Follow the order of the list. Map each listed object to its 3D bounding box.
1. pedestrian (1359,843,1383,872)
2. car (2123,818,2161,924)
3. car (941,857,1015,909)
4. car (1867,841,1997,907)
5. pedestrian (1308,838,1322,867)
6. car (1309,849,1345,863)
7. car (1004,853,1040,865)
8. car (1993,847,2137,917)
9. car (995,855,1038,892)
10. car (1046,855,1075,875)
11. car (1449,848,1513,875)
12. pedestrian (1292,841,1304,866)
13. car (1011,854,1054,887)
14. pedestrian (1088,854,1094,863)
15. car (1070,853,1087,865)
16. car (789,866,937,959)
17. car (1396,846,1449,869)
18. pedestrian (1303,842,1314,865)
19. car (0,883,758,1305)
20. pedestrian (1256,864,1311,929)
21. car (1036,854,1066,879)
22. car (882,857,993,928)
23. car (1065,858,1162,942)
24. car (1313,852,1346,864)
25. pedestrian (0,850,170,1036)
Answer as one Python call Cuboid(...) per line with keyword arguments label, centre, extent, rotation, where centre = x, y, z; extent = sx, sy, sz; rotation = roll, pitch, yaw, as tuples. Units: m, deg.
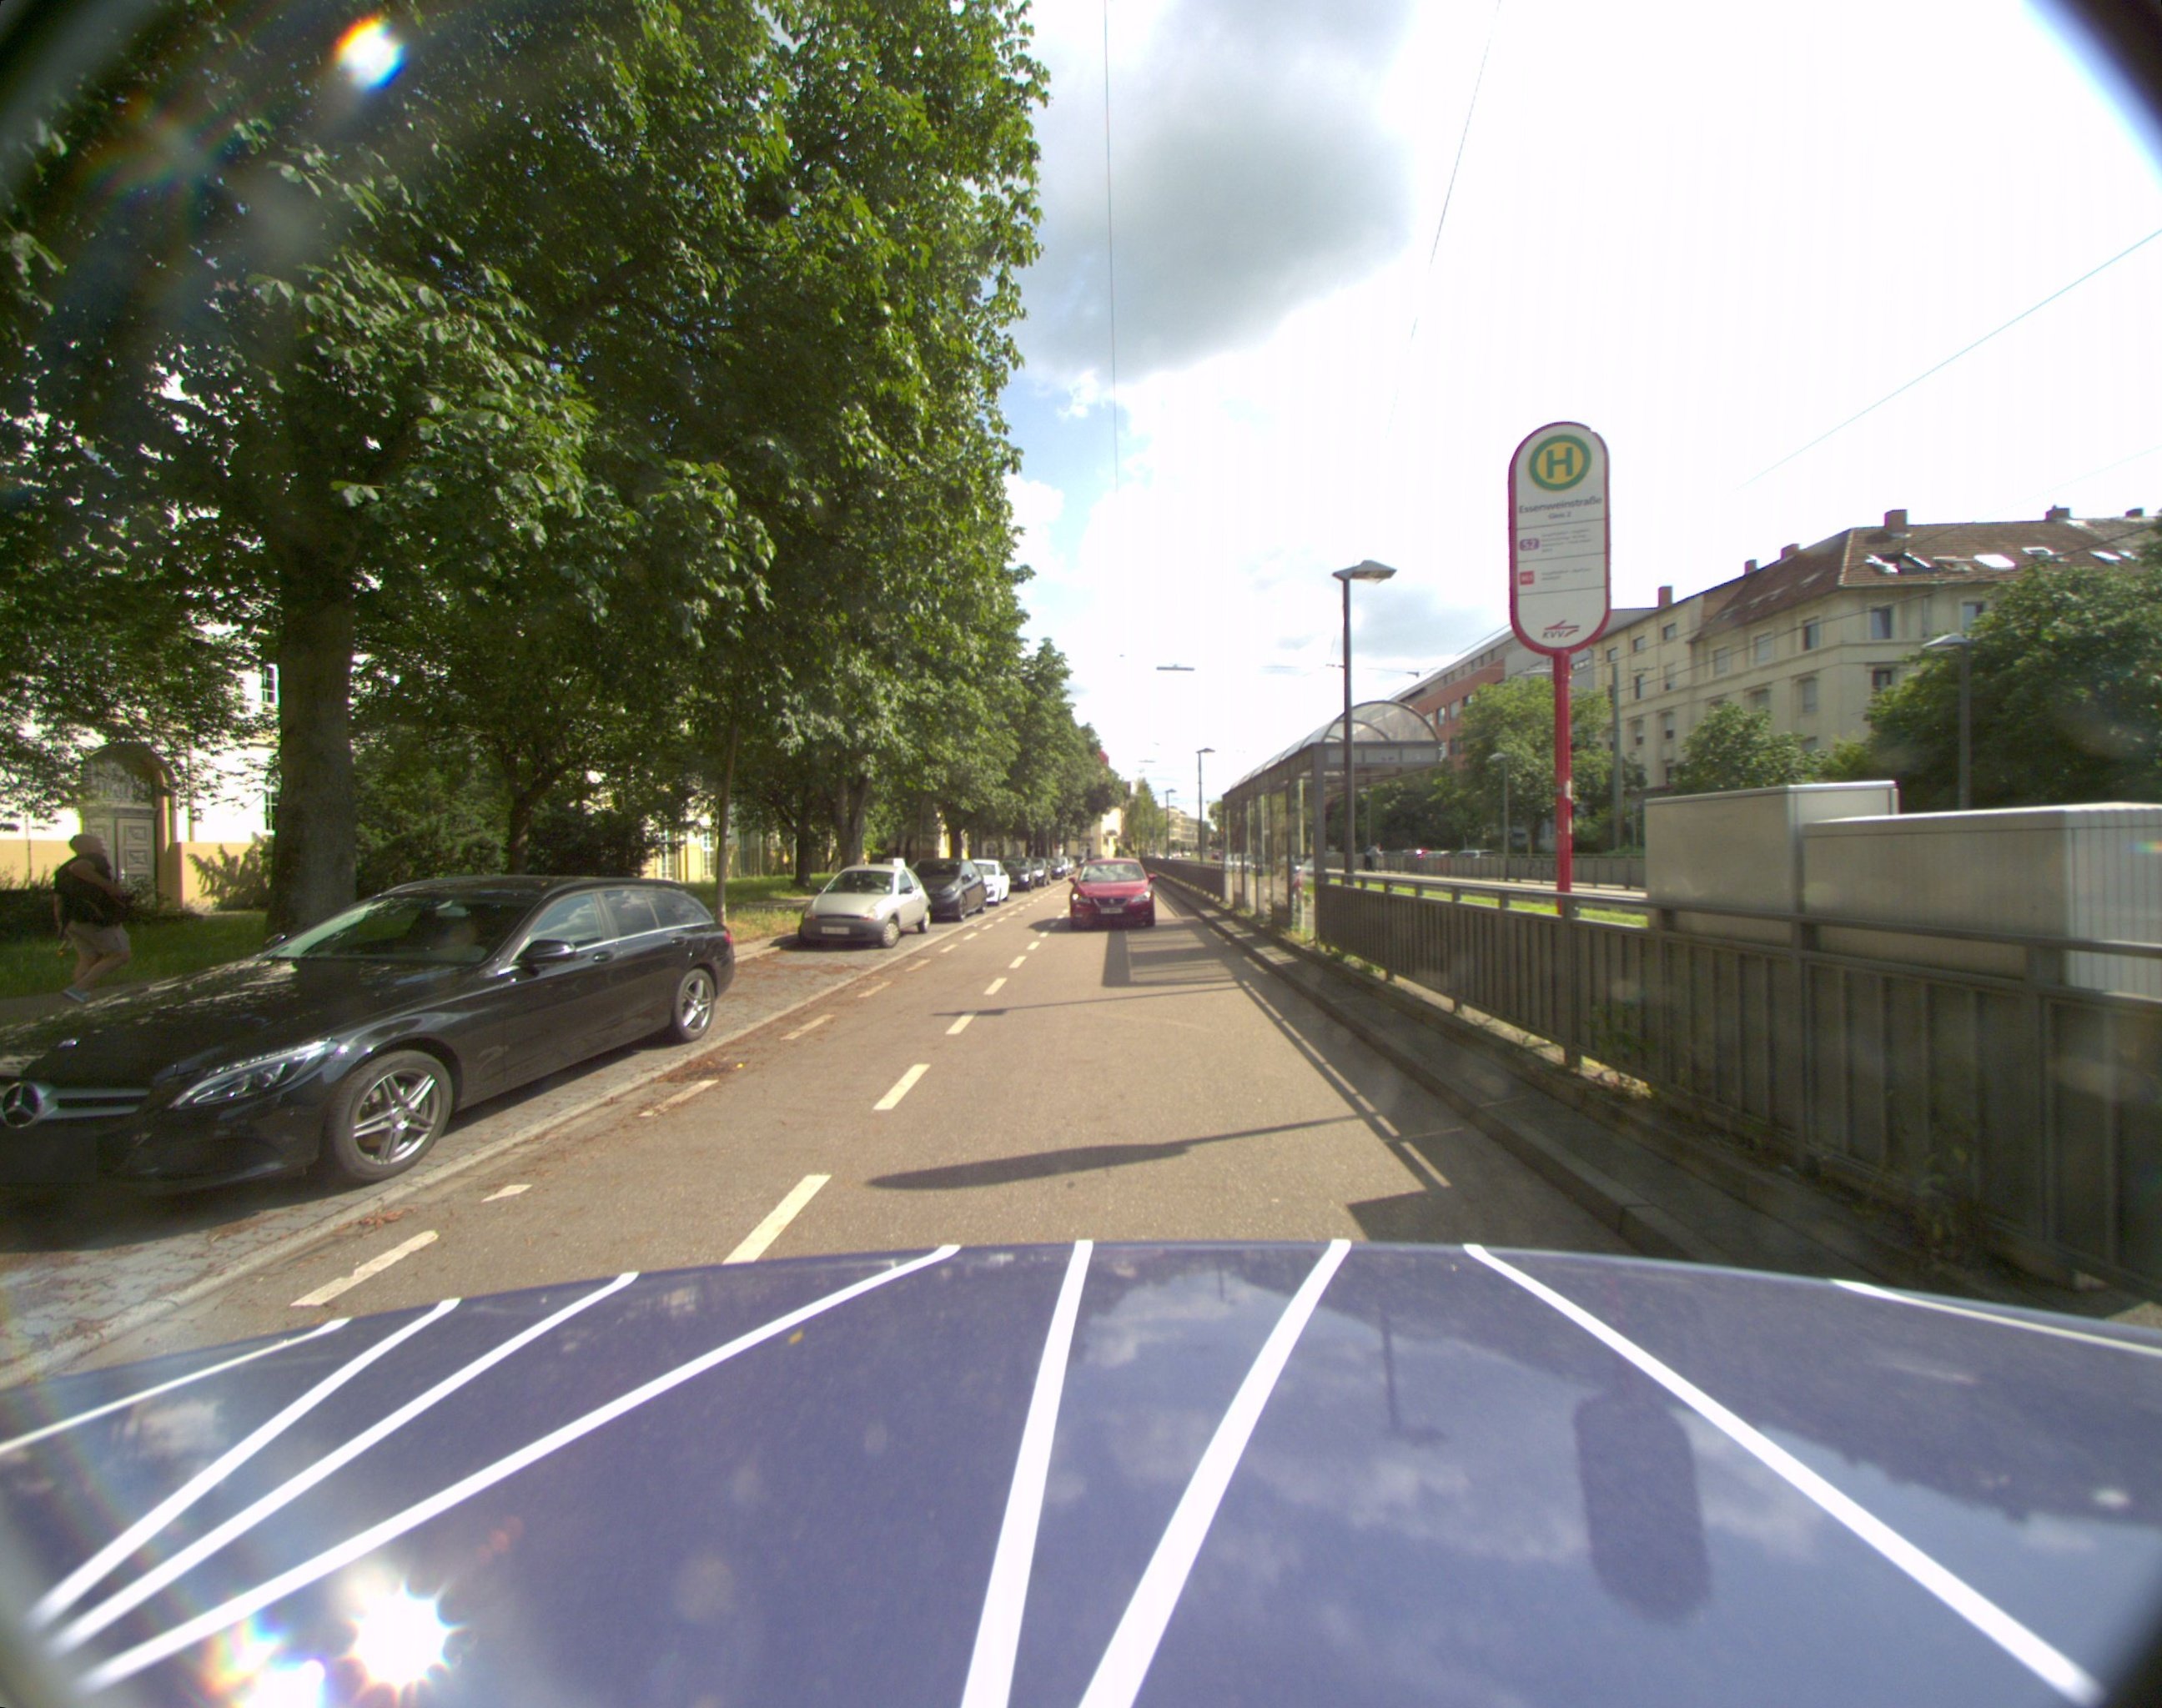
Cuboid(label="pedestrian", centre=(15.733, 0.192, 41.275), extent=(0.991, 1.569, 0.798), rotation=(-1, 1, 0))
Cuboid(label="car", centre=(22.926, 0.291, 15.131), extent=(3.957, 2.058, 2.045), rotation=(-1, 0, -28))
Cuboid(label="car", centre=(-3.354, 0.884, 25.399), extent=(1.840, 1.515, 4.253), rotation=(1, 0, 0))
Cuboid(label="car", centre=(23.367, 0.500, 20.832), extent=(4.007, 1.630, 1.823), rotation=(-1, -1, -34))
Cuboid(label="pedestrian", centre=(15.482, -0.089, 50.223), extent=(0.752, 1.881, 0.639), rotation=(-1, 3, 5))
Cuboid(label="car", centre=(27.138, 0.206, 83.873), extent=(4.007, 1.487, 1.647), rotation=(-1, 0, -34))
Cuboid(label="car", centre=(-8.599, 0.695, 111.400), extent=(4.827, 1.646, 1.858), rotation=(-1, 2, 13))
Cuboid(label="car", centre=(23.517, 0.601, 18.128), extent=(4.006, 1.477, 1.606), rotation=(-1, 0, -30))
Cuboid(label="car", centre=(-2.838, 0.845, 34.125), extent=(1.559, 1.453, 3.558), rotation=(2, 1, 0))
Cuboid(label="car", centre=(-1.488, 0.814, 56.828), extent=(1.639, 1.423, 4.016), rotation=(2, 0, 5))
Cuboid(label="car", centre=(24.790, 0.444, 47.069), extent=(4.161, 1.556, 1.921), rotation=(-1, 1, -38))
Cuboid(label="pedestrian", centre=(15.685, -0.045, 54.947), extent=(0.607, 1.744, 0.626), rotation=(0, 2, 43))
Cuboid(label="car", centre=(-2.433, 0.811, 39.308), extent=(1.694, 1.552, 4.308), rotation=(2, 0, 3))
Cuboid(label="pedestrian", centre=(1.511, 0.645, 112.898), extent=(0.804, 1.238, 0.892), rotation=(-1, 2, 5))
Cuboid(label="car", centre=(-0.284, 0.549, 89.267), extent=(1.689, 1.379, 3.924), rotation=(0, 1, 3))
Cuboid(label="car", centre=(-3.968, 0.993, 14.404), extent=(1.594, 1.437, 3.598), rotation=(1, 1, 3))
Cuboid(label="car", centre=(25.513, 0.235, 56.717), extent=(4.144, 1.630, 1.829), rotation=(-1, 1, -37))
Cuboid(label="pedestrian", centre=(16.391, -0.039, 54.794), extent=(0.608, 1.665, 0.625), rotation=(-1, 2, 3))
Cuboid(label="car", centre=(-4.349, 1.039, 5.408), extent=(1.922, 1.433, 4.797), rotation=(1, 0, 2))
Cuboid(label="pedestrian", centre=(3.458, 0.708, 12.955), extent=(0.662, 1.066, 0.725), rotation=(-1, 0, 37))
Cuboid(label="car", centre=(-1.953, 0.793, 50.899), extent=(1.836, 1.458, 4.829), rotation=(1, 1, -1))
Cuboid(label="car", centre=(-3.574, 0.895, 19.803), extent=(1.729, 1.574, 4.678), rotation=(0, 0, 3))
Cuboid(label="car", centre=(0.704, 0.889, 16.448), extent=(1.790, 1.499, 4.000), rotation=(-2, 0, 3))
Cuboid(label="car", centre=(26.276, 0.422, 80.312), extent=(3.258, 1.296, 1.600), rotation=(-1, 0, -32))
Cuboid(label="pedestrian", centre=(-9.613, 0.812, 7.302), extent=(0.746, 1.686, 0.767), rotation=(-1, 1, 5))
